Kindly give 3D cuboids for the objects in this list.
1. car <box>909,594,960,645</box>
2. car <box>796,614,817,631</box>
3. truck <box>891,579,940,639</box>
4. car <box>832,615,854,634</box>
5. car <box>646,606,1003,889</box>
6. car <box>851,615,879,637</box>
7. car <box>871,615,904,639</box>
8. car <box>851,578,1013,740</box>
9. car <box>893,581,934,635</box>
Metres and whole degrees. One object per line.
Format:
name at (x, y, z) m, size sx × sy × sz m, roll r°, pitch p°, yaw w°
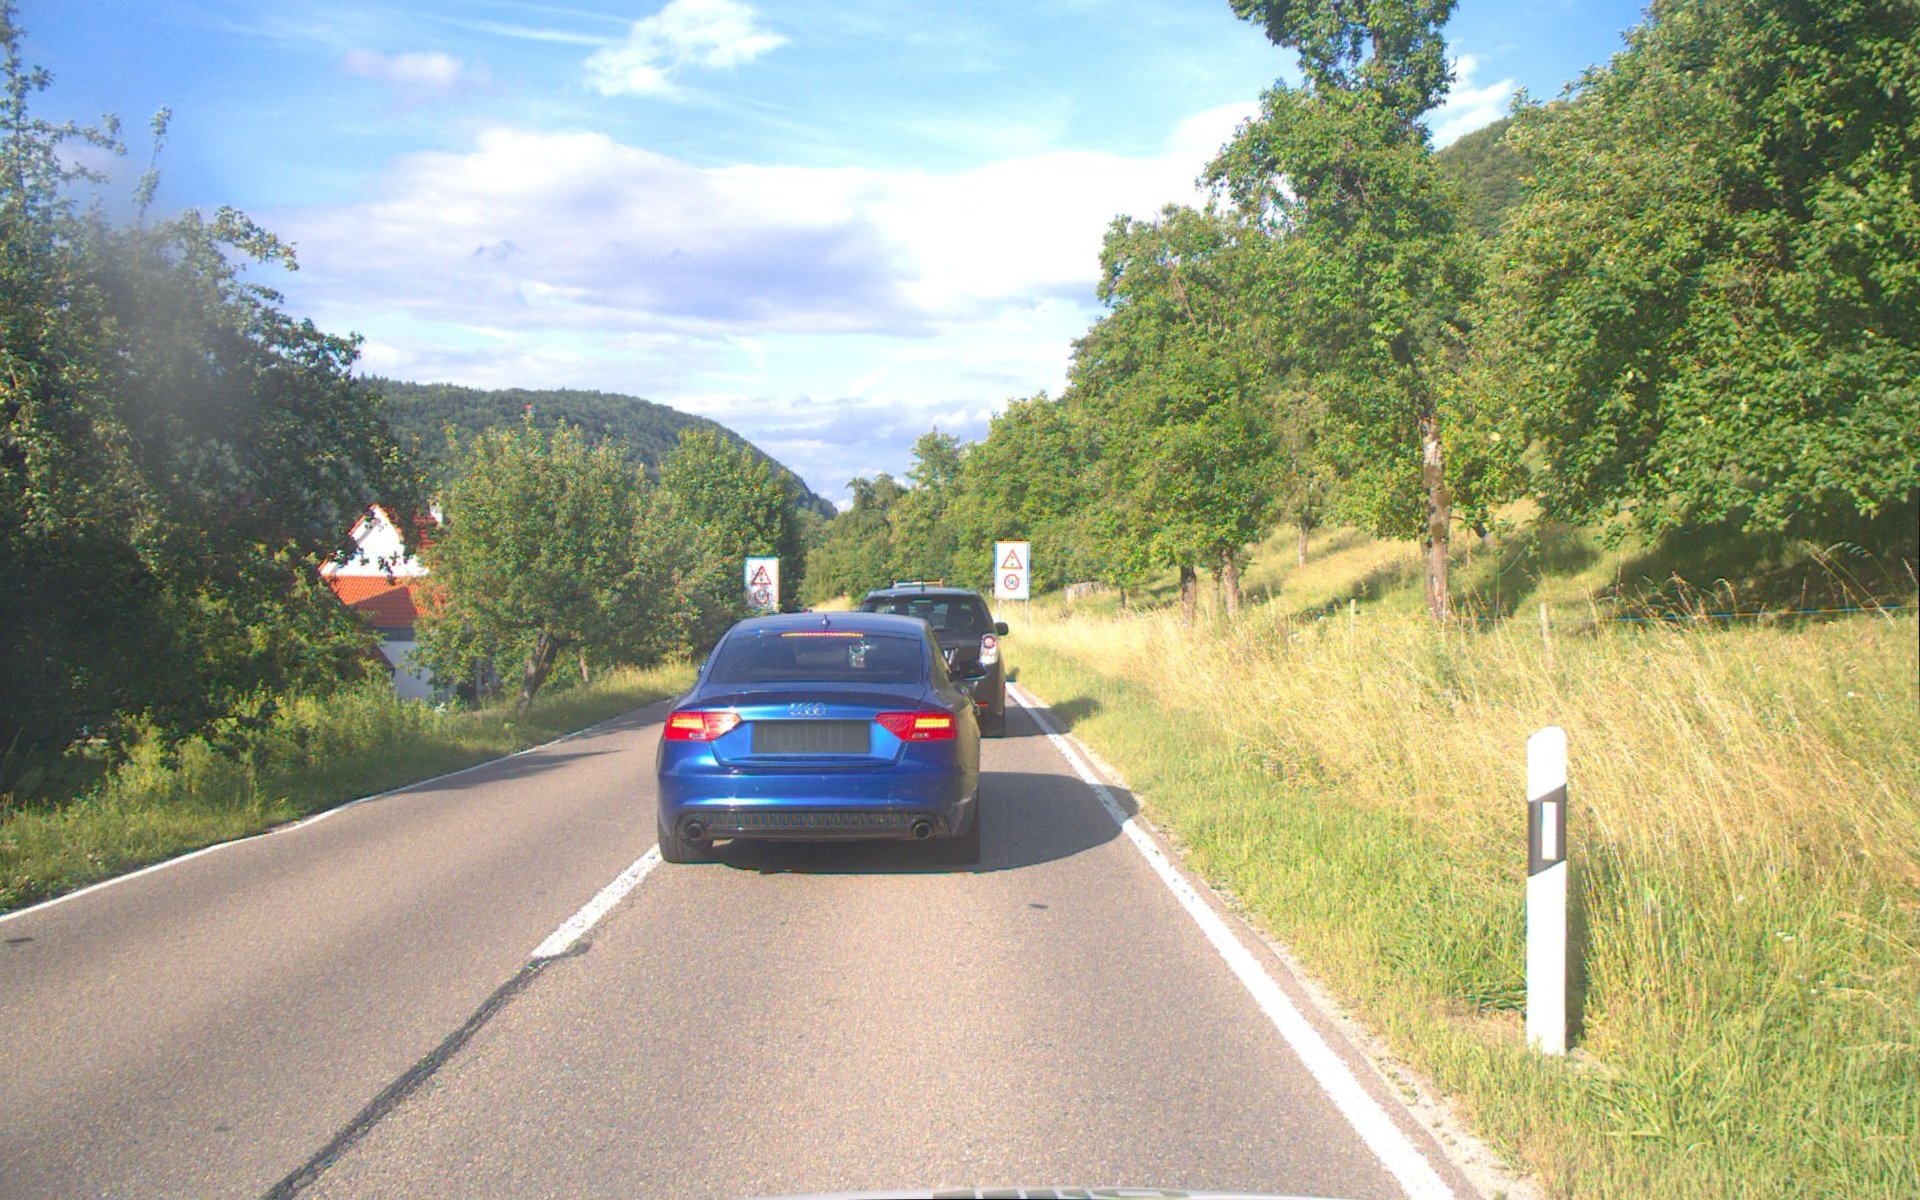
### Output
car at (-0.867, 0.630, 55.895) m, size 1.658 × 1.652 × 3.788 m, roll 0°, pitch 0°, yaw -1°
car at (-15.099, 2.231, 162.687) m, size 1.532 × 1.522 × 3.765 m, roll 2°, pitch 0°, yaw -13°
truck at (-1.895, 0.367, 69.590) m, size 1.910 × 2.386 × 5.092 m, roll 2°, pitch 0°, yaw -2°
car at (-10.120, 2.142, 142.604) m, size 1.530 × 1.522 × 3.770 m, roll 2°, pitch 0°, yaw -9°
car at (-0.695, 0.748, 10.342) m, size 1.769 × 1.406 × 4.214 m, roll 0°, pitch 0°, yaw -1°
car at (-7.356, 2.003, 127.913) m, size 1.716 × 1.522 × 3.770 m, roll 2°, pitch 0°, yaw -9°
car at (-4.852, 1.775, 109.739) m, size 1.716 × 1.522 × 3.770 m, roll 2°, pitch 0°, yaw -9°
car at (-0.325, 0.604, 18.948) m, size 1.658 × 1.652 × 3.788 m, roll 0°, pitch 0°, yaw -1°
car at (-2.250, 0.366, 79.411) m, size 1.757 × 2.496 × 3.916 m, roll 2°, pitch 0°, yaw -4°
